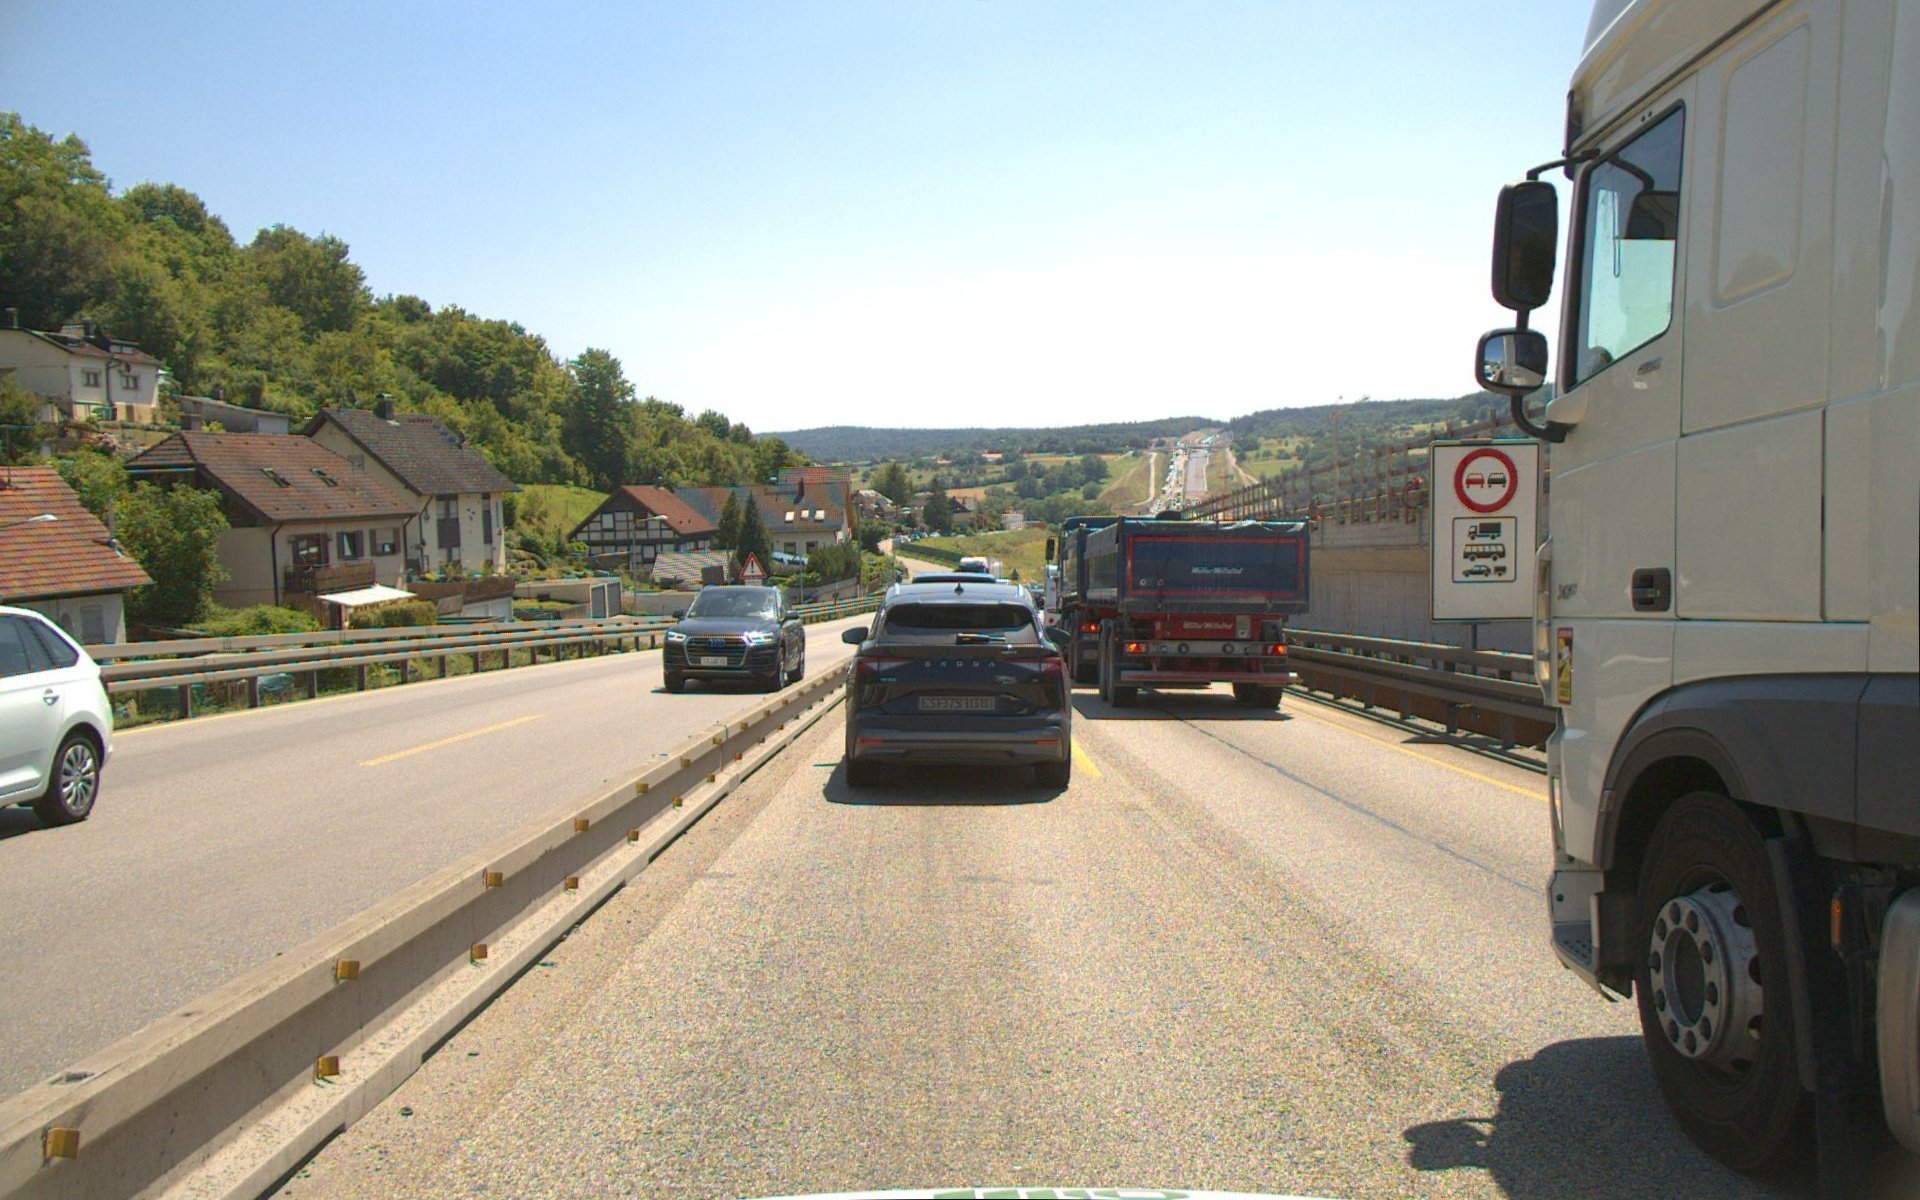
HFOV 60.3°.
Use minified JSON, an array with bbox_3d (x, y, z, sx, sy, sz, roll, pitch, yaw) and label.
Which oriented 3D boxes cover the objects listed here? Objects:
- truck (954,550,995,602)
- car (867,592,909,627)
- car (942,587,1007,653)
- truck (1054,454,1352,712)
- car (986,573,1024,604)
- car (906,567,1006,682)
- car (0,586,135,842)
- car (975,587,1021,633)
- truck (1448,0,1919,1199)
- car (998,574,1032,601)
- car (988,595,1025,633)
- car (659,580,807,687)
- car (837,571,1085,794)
[{"bbox_3d":[1.356,-2.109,148.096,3.234,4.438,8.304,1,0,3],"label":"truck"},{"bbox_3d":[-3.157,0.384,72.729,1.711,1.451,3.709,0,1,0],"label":"car"},{"bbox_3d":[0.365,0.517,45.991,1.672,1.650,4.000,1,1,-1],"label":"car"},{"bbox_3d":[3.457,-0.194,27.411,3.129,3.247,12.809,1,0,0],"label":"truck"},{"bbox_3d":[2.502,-0.603,90.750,1.952,1.613,3.838,1,0,4],"label":"car"},{"bbox_3d":[-0.089,0.380,30.192,1.672,1.914,4.000,1,1,-1],"label":"car"},{"bbox_3d":[-6.527,0.682,9.447,1.665,1.519,3.999,-1,0,-1],"label":"car"},{"bbox_3d":[1.522,0.373,64.780,1.671,1.650,4.002,1,1,3],"label":"car"},{"bbox_3d":[3.173,-0.671,2.056,2.462,4.095,8.235,1,0,-2],"label":"truck"},{"bbox_3d":[3.452,-0.767,102.835,1.952,1.613,3.838,1,0,4],"label":"car"},{"bbox_3d":[2.235,0.644,79.237,1.671,1.650,4.002,1,1,3],"label":"car"},{"bbox_3d":[-3.642,0.516,27.312,1.878,1.624,4.527,0,0,-1],"label":"car"},{"bbox_3d":[-0.017,0.617,14.148,1.805,1.614,3.906,1,0,-1],"label":"car"}]
